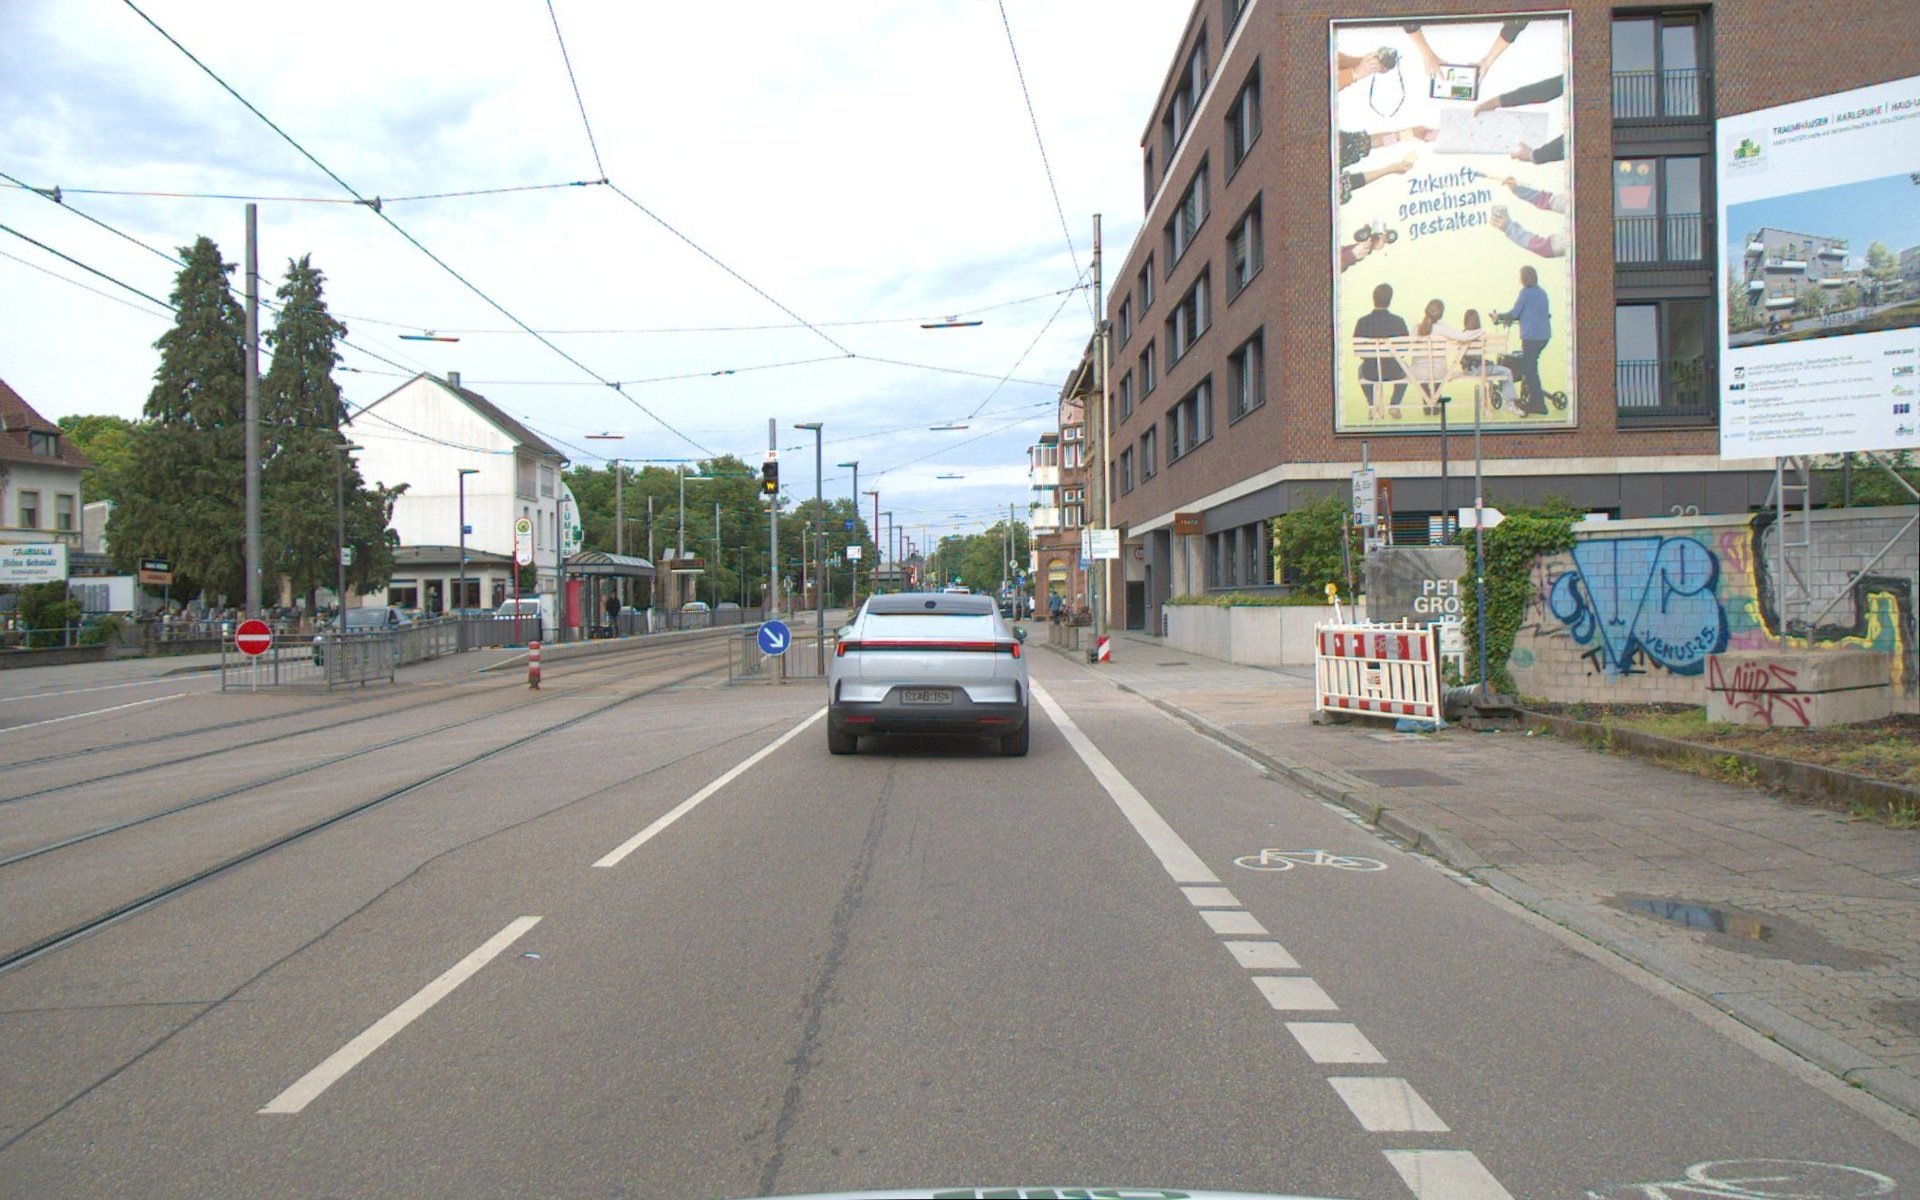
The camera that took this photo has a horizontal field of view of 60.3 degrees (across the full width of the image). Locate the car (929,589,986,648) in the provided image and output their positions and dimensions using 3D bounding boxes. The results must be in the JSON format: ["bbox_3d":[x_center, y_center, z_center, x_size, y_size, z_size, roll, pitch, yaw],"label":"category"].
[{"bbox_3d":[-0.065,0.559,50.059,1.646,1.717,3.823,0,0,0],"label":"car"}]

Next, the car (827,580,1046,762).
[{"bbox_3d":[-0.355,0.650,16.756,1.960,1.608,3.996,0,-1,-5],"label":"car"}]

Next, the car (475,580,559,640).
[{"bbox_3d":[-15.840,0.347,59.360,1.846,2.023,4.523,-2,0,-2],"label":"car"}]

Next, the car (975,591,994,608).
[{"bbox_3d":[3.538,-0.064,243.839,2.750,2.549,5.722,0,0,0],"label":"car"}]

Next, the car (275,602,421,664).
[{"bbox_3d":[-15.877,0.812,43.155,1.842,1.453,4.427,-2,0,4],"label":"car"}]

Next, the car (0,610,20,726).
[{"bbox_3d":[-12.982,0.901,19.423,1.870,1.498,4.807,-2,0,-11],"label":"car"}]

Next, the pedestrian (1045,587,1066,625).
[{"bbox_3d":[4.804,0.297,83.296,0.940,1.882,0.976,-3,1,6],"label":"pedestrian"}]

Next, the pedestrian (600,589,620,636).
[{"bbox_3d":[-12.584,0.441,59.505,0.606,1.694,0.693,0,-1,-20],"label":"pedestrian"}]

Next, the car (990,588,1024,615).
[{"bbox_3d":[3.717,0.122,130.293,1.951,2.049,4.003,0,0,13],"label":"car"}]

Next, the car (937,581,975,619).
[{"bbox_3d":[-0.282,0.005,107.294,2.182,2.444,5.119,0,0,-4],"label":"car"}]

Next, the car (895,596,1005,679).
[{"bbox_3d":[-0.221,0.662,31.857,1.953,1.444,3.999,-1,0,-1],"label":"car"}]
